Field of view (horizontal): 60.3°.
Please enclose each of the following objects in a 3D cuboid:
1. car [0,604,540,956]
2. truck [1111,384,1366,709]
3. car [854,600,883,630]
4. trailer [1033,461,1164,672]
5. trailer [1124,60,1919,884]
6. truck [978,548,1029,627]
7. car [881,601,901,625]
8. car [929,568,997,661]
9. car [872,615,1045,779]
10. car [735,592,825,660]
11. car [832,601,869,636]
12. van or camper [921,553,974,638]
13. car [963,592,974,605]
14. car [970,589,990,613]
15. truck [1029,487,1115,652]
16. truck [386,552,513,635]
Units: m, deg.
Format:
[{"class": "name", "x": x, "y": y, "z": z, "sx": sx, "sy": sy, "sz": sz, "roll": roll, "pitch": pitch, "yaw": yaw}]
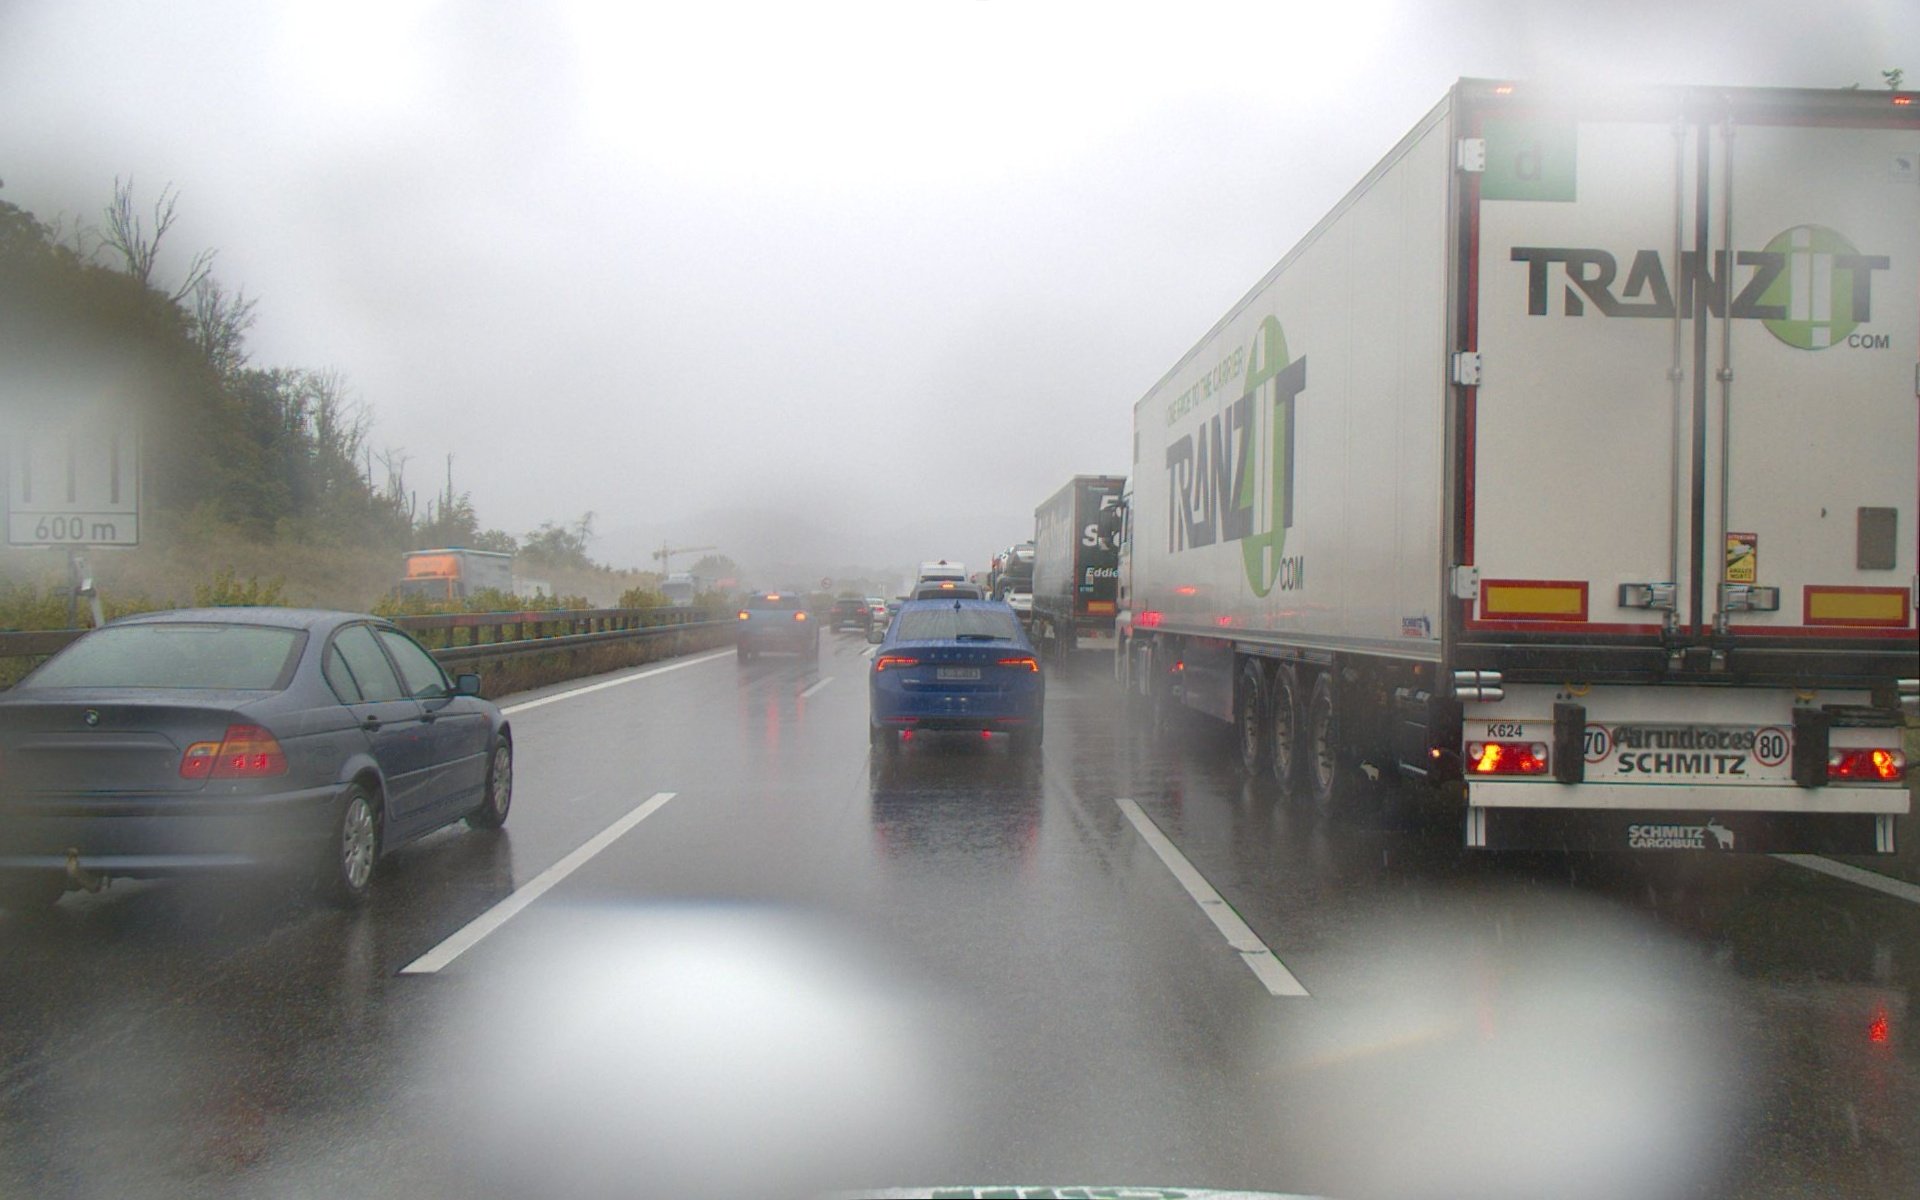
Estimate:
[{"class": "car", "x": -3.632, "y": 0.747, "z": 8.942, "sx": 1.683, "sy": 1.424, "sz": 4.229, "roll": 0, "pitch": 0, "yaw": -1}, {"class": "truck", "x": 3.562, "y": -0.662, "z": 22.251, "sx": 2.577, "sy": 3.894, "sz": 4.790, "roll": 0, "pitch": 0, "yaw": -1}, {"class": "car", "x": -4.876, "y": 0.781, "z": 88.396, "sx": 1.410, "sy": 1.560, "sz": 3.321, "roll": 0, "pitch": 0, "yaw": -1}, {"class": "trailer", "x": 3.039, "y": -0.719, "z": 39.013, "sx": 2.005, "sy": 4.249, "sz": 11.447, "roll": 0, "pitch": 0, "yaw": -1}, {"class": "trailer", "x": 3.625, "y": -0.694, "z": 15.533, "sx": 2.577, "sy": 4.083, "sz": 14.627, "roll": 0, "pitch": 0, "yaw": -1}, {"class": "truck", "x": 1.958, "y": -0.595, "z": 76.792, "sx": 1.953, "sy": 3.481, "sz": 8.030, "roll": 0, "pitch": 1, "yaw": -2}, {"class": "car", "x": -5.485, "y": 1.014, "z": 131.727, "sx": 1.419, "sy": 1.815, "sz": 3.409, "roll": 1, "pitch": 0, "yaw": -1}, {"class": "car", "x": 0.041, "y": 0.263, "z": 33.787, "sx": 1.309, "sy": 1.811, "sz": 3.321, "roll": 0, "pitch": 0, "yaw": -1}, {"class": "car", "x": -0.004, "y": 0.919, "z": 17.320, "sx": 1.602, "sy": 1.470, "sz": 4.000, "roll": 0, "pitch": 0, "yaw": 0}, {"class": "car", "x": -4.281, "y": 0.579, "z": 39.779, "sx": 1.686, "sy": 1.550, "sz": 4.000, "roll": 0, "pitch": 0, "yaw": 0}, {"class": "car", "x": -4.711, "y": 0.785, "z": 71.451, "sx": 1.410, "sy": 1.445, "sz": 3.321, "roll": 0, "pitch": 0, "yaw": -1}, {"class": "van or camper", "x": -0.438, "y": -0.163, "z": 57.931, "sx": 1.761, "sy": 2.855, "sz": 4.767, "roll": 0, "pitch": 0, "yaw": -1}, {"class": "car", "x": 1.126, "y": -0.189, "z": 220.023, "sx": 1.419, "sy": 1.815, "sz": 3.409, "roll": 1, "pitch": 0, "yaw": -1}, {"class": "car", "x": 1.533, "y": 0.066, "z": 128.063, "sx": 1.419, "sy": 1.815, "sz": 3.409, "roll": 1, "pitch": 0, "yaw": -1}, {"class": "truck", "x": 2.959, "y": -0.804, "z": 44.612, "sx": 2.005, "sy": 4.266, "sz": 4.000, "roll": 0, "pitch": 0, "yaw": -1}, {"class": "truck", "x": -21.761, "y": -0.317, "z": 71.072, "sx": 2.866, "sy": 3.339, "sz": 9.252, "roll": 0, "pitch": 1, "yaw": -2}]
